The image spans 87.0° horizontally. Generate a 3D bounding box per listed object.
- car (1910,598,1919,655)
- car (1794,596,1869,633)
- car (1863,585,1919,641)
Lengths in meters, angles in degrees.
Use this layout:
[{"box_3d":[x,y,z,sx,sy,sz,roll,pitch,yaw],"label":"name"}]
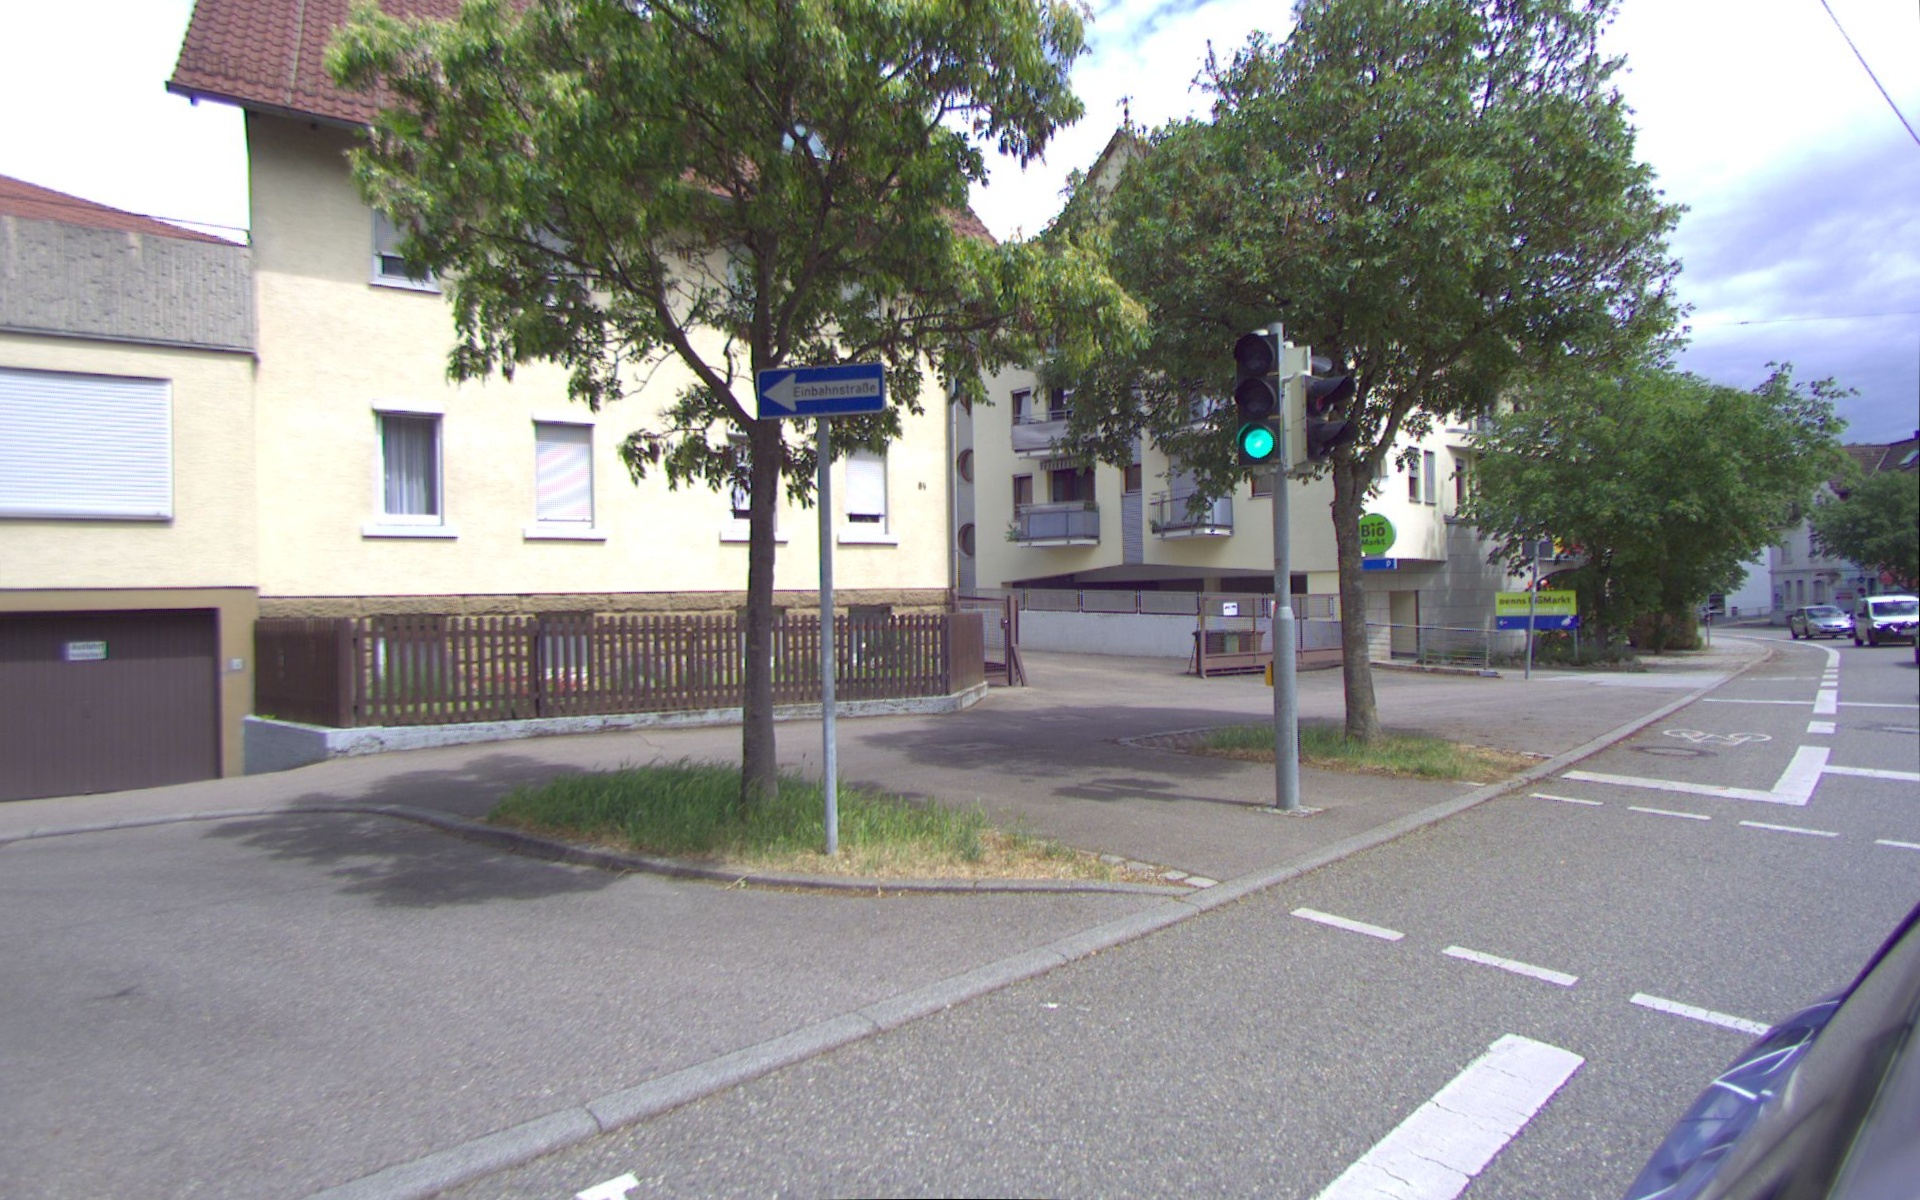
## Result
[{"box_3d":[23.912,0.642,23.685,1.829,1.408,3.949,-1,-1,35],"label":"car"},{"box_3d":[39.597,0.646,46.083,1.679,1.505,3.959,-4,-2,29],"label":"car"},{"box_3d":[33.414,0.416,35.602,1.840,1.839,3.950,-4,-2,35],"label":"car"}]
